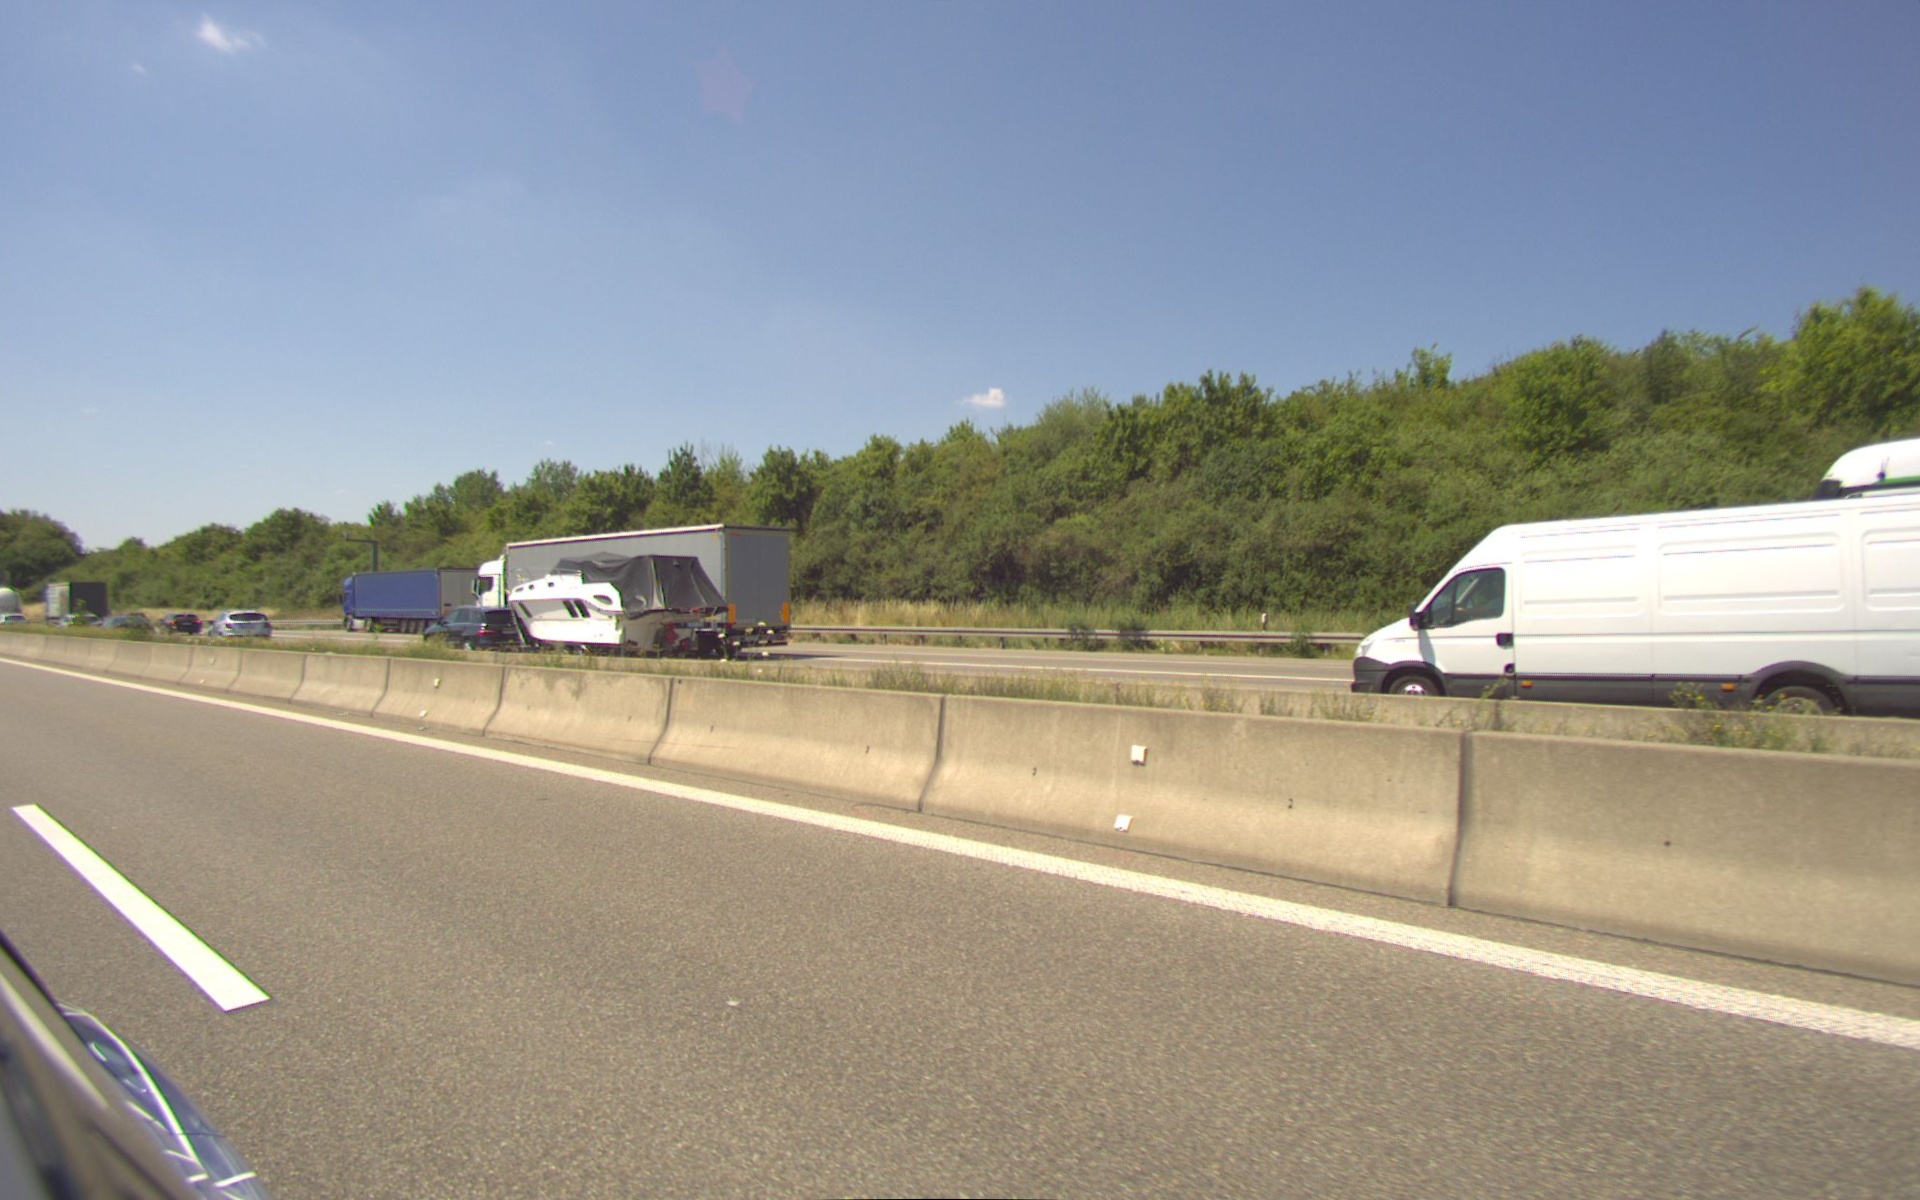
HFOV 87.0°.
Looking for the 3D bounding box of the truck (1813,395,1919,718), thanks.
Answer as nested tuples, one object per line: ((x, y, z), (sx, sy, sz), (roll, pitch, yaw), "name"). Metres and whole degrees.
((14.433, -0.581, 12.390), (5.972, 4.037, 2.818), (-1, -1, 42), "truck")

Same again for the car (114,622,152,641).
((-63.721, 2.402, 77.919), (4.212, 1.415, 1.728), (-1, -1, 43), "car")

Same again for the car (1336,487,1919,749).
((8.618, 0.209, 12.068), (7.569, 2.593, 1.877), (-1, -1, 42), "car")

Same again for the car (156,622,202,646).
((-50.726, 2.197, 65.675), (1.856, 1.461, 4.635), (1, -1, -44), "car")

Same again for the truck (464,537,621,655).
((-16.184, -0.078, 39.117), (6.179, 4.164, 3.167), (-1, -1, 40), "truck")

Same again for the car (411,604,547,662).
((-15.761, 1.038, 33.080), (4.925, 1.736, 2.086), (-1, -1, 39), "car")

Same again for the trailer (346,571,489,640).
((-35.051, 0.461, 64.928), (14.483, 4.001, 3.049), (-2, -1, 41), "trailer")

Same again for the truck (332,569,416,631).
((-40.099, 0.037, 69.212), (6.088, 4.059, 3.058), (-2, -1, 40), "truck")

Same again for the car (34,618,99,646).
((-50.247, 1.773, 56.903), (4.787, 1.456, 1.974), (-1, -1, 39), "car")

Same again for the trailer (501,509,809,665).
((-10.938, -0.261, 34.650), (13.770, 4.455, 3.189), (-1, -1, 40), "trailer")

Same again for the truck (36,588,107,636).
((-78.001, 1.067, 88.753), (10.345, 3.946, 2.979), (-1, -1, 39), "truck")

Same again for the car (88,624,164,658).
((-39.962, 1.918, 48.479), (4.302, 1.532, 1.974), (-1, -1, 39), "car")

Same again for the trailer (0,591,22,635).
((-96.589, 1.254, 100.529), (14.153, 4.196, 2.909), (0, 0, 38), "trailer")

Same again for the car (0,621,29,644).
((-67.682, 2.269, 71.565), (5.145, 1.532, 1.974), (-1, -1, 39), "car")

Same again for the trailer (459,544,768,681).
((-9.982, 0.305, 28.140), (10.717, 3.207, 2.842), (0, 0, 39), "trailer")

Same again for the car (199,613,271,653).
((-31.806, 1.410, 44.374), (4.443, 1.690, 1.821), (-1, -1, 44), "car")
